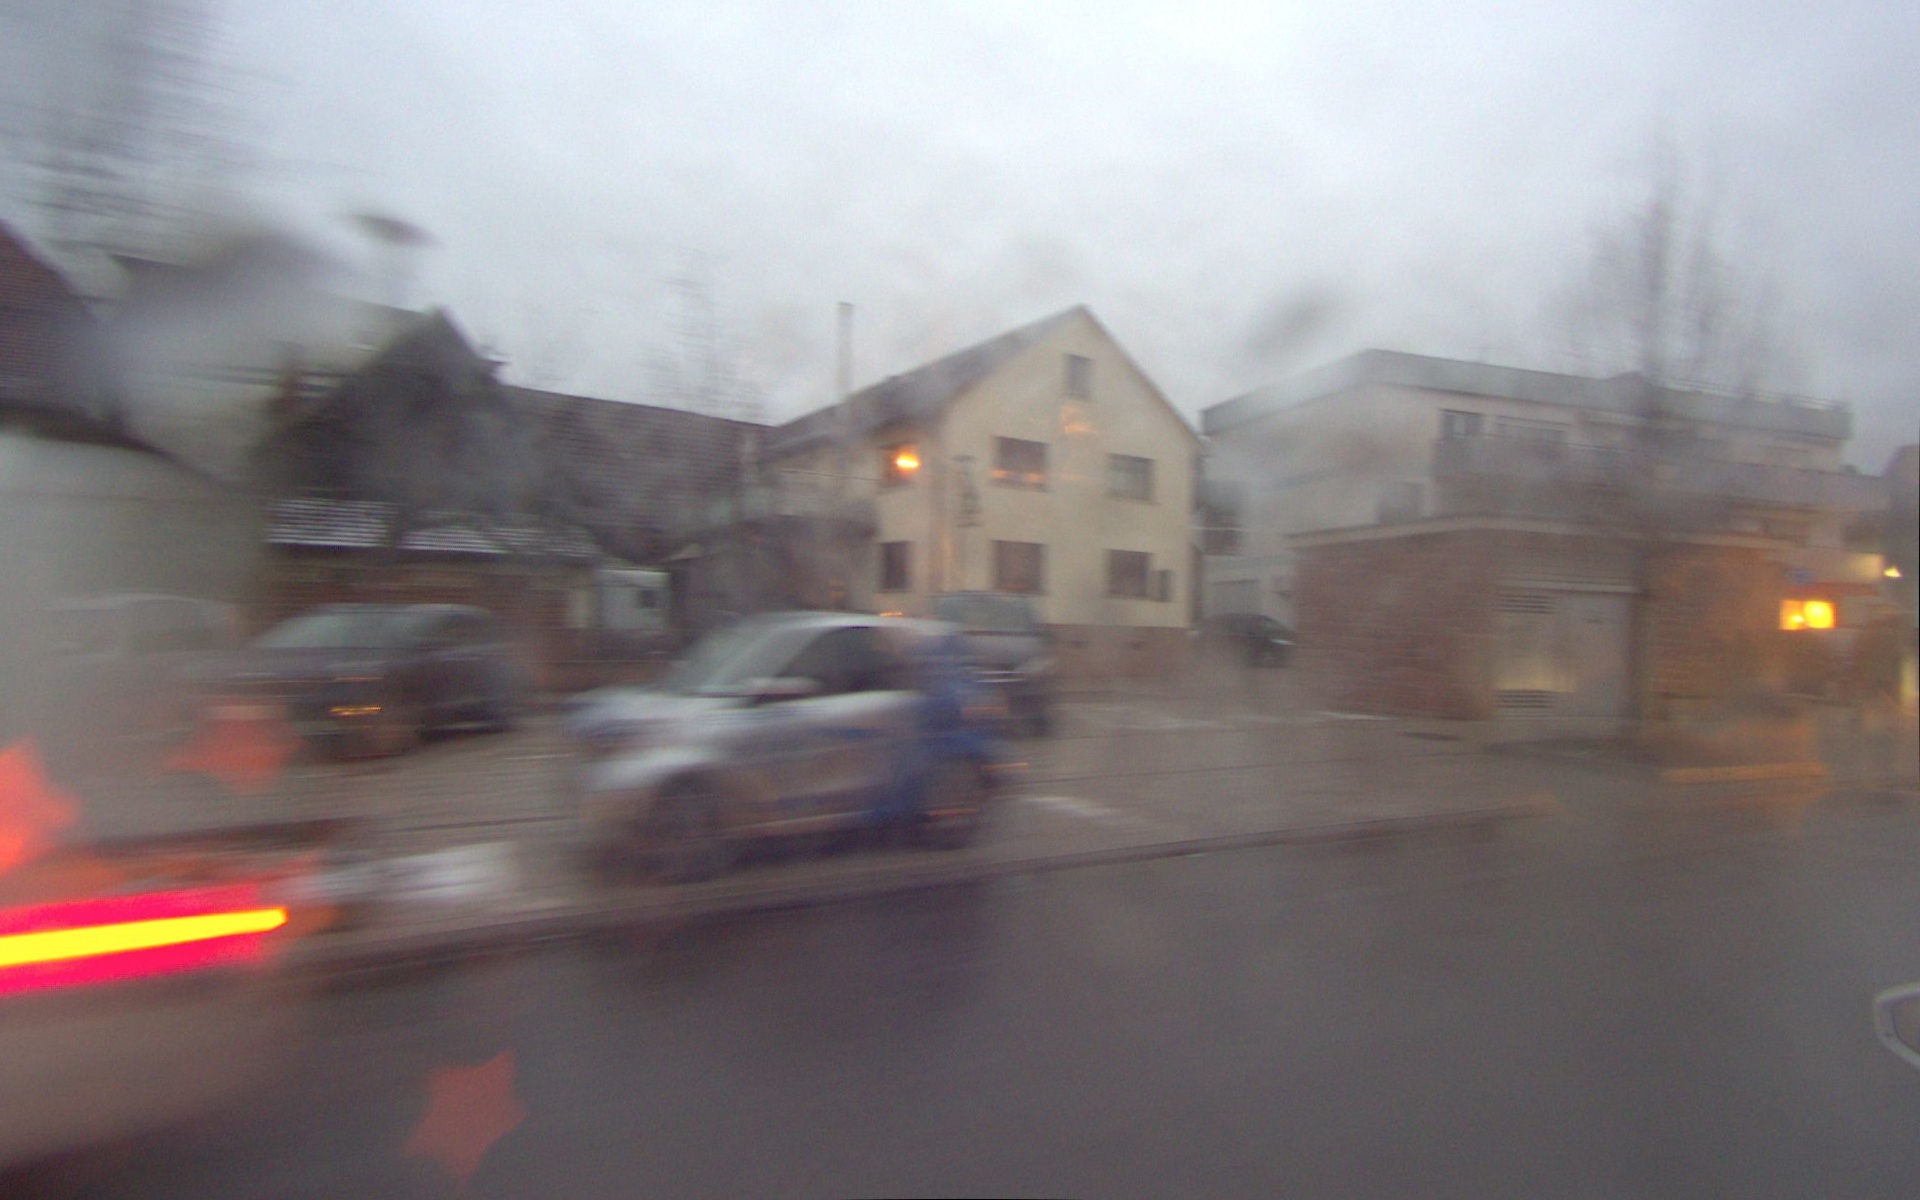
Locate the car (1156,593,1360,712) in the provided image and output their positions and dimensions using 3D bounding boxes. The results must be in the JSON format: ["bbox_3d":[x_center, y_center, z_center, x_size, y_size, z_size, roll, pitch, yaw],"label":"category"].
[{"bbox_3d":[5.274,0.899,18.276,1.733,1.929,3.707,1,-1,-19],"label":"car"}]

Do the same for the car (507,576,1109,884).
[{"bbox_3d":[-0.967,0.694,6.859,3.637,1.556,1.822,2,0,-34],"label":"car"}]

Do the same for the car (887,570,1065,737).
[{"bbox_3d":[0.332,0.709,14.191,2.032,1.910,5.401,0,-2,3],"label":"car"}]

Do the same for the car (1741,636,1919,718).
[{"bbox_3d":[18.189,1.514,20.630,1.704,1.496,4.092,0,-2,11],"label":"car"}]

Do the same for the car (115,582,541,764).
[{"bbox_3d":[-6.334,0.659,10.733,1.960,1.550,4.001,1,-1,1],"label":"car"}]

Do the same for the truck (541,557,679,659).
[{"bbox_3d":[-11.484,0.235,32.602,2.757,2.991,5.802,2,0,-35],"label":"truck"}]

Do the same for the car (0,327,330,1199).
[{"bbox_3d":[-3.743,0.449,1.343,4.794,1.773,1.937,2,-3,-31],"label":"car"}]

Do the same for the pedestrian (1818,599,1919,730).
[{"bbox_3d":[13.627,0.946,15.000,1.042,1.891,0.754,1,-1,-12],"label":"pedestrian"}]

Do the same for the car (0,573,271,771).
[{"bbox_3d":[-8.685,0.622,9.461,1.687,1.603,4.113,1,-2,-3],"label":"car"}]
